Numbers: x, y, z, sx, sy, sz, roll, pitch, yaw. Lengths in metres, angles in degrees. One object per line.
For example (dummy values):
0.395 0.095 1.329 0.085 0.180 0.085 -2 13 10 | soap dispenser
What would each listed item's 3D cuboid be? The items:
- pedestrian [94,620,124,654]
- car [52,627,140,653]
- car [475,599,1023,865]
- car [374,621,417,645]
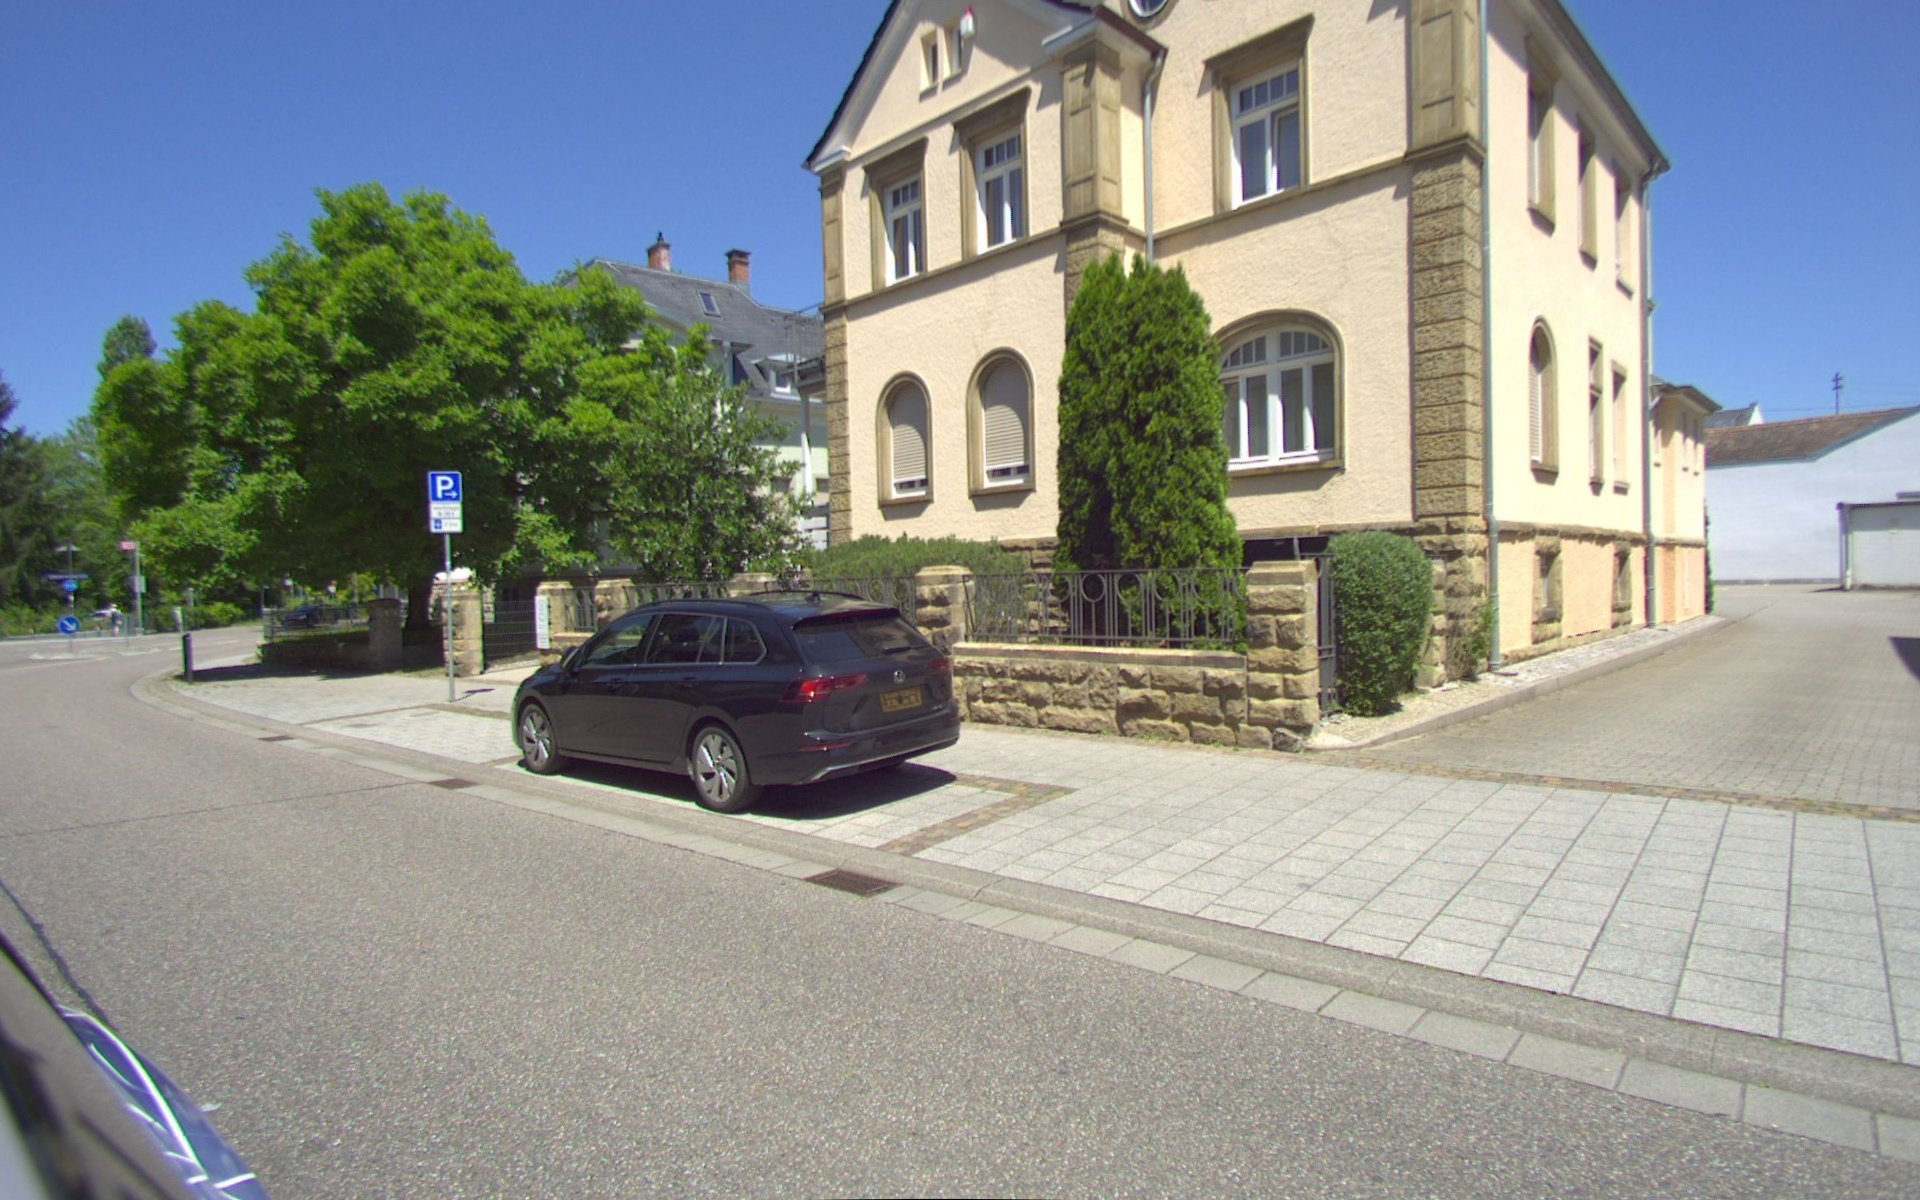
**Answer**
-46.290 2.019 55.058 0.902 1.785 0.915 0 0 0 | pedestrian
-60.527 2.776 70.930 1.769 1.511 4.439 -2 0 41 | car
-1.940 0.845 8.280 4.657 1.447 1.906 -2 3 41 | car
-37.429 2.170 67.173 1.733 1.446 4.317 -1 -1 -19 | car
